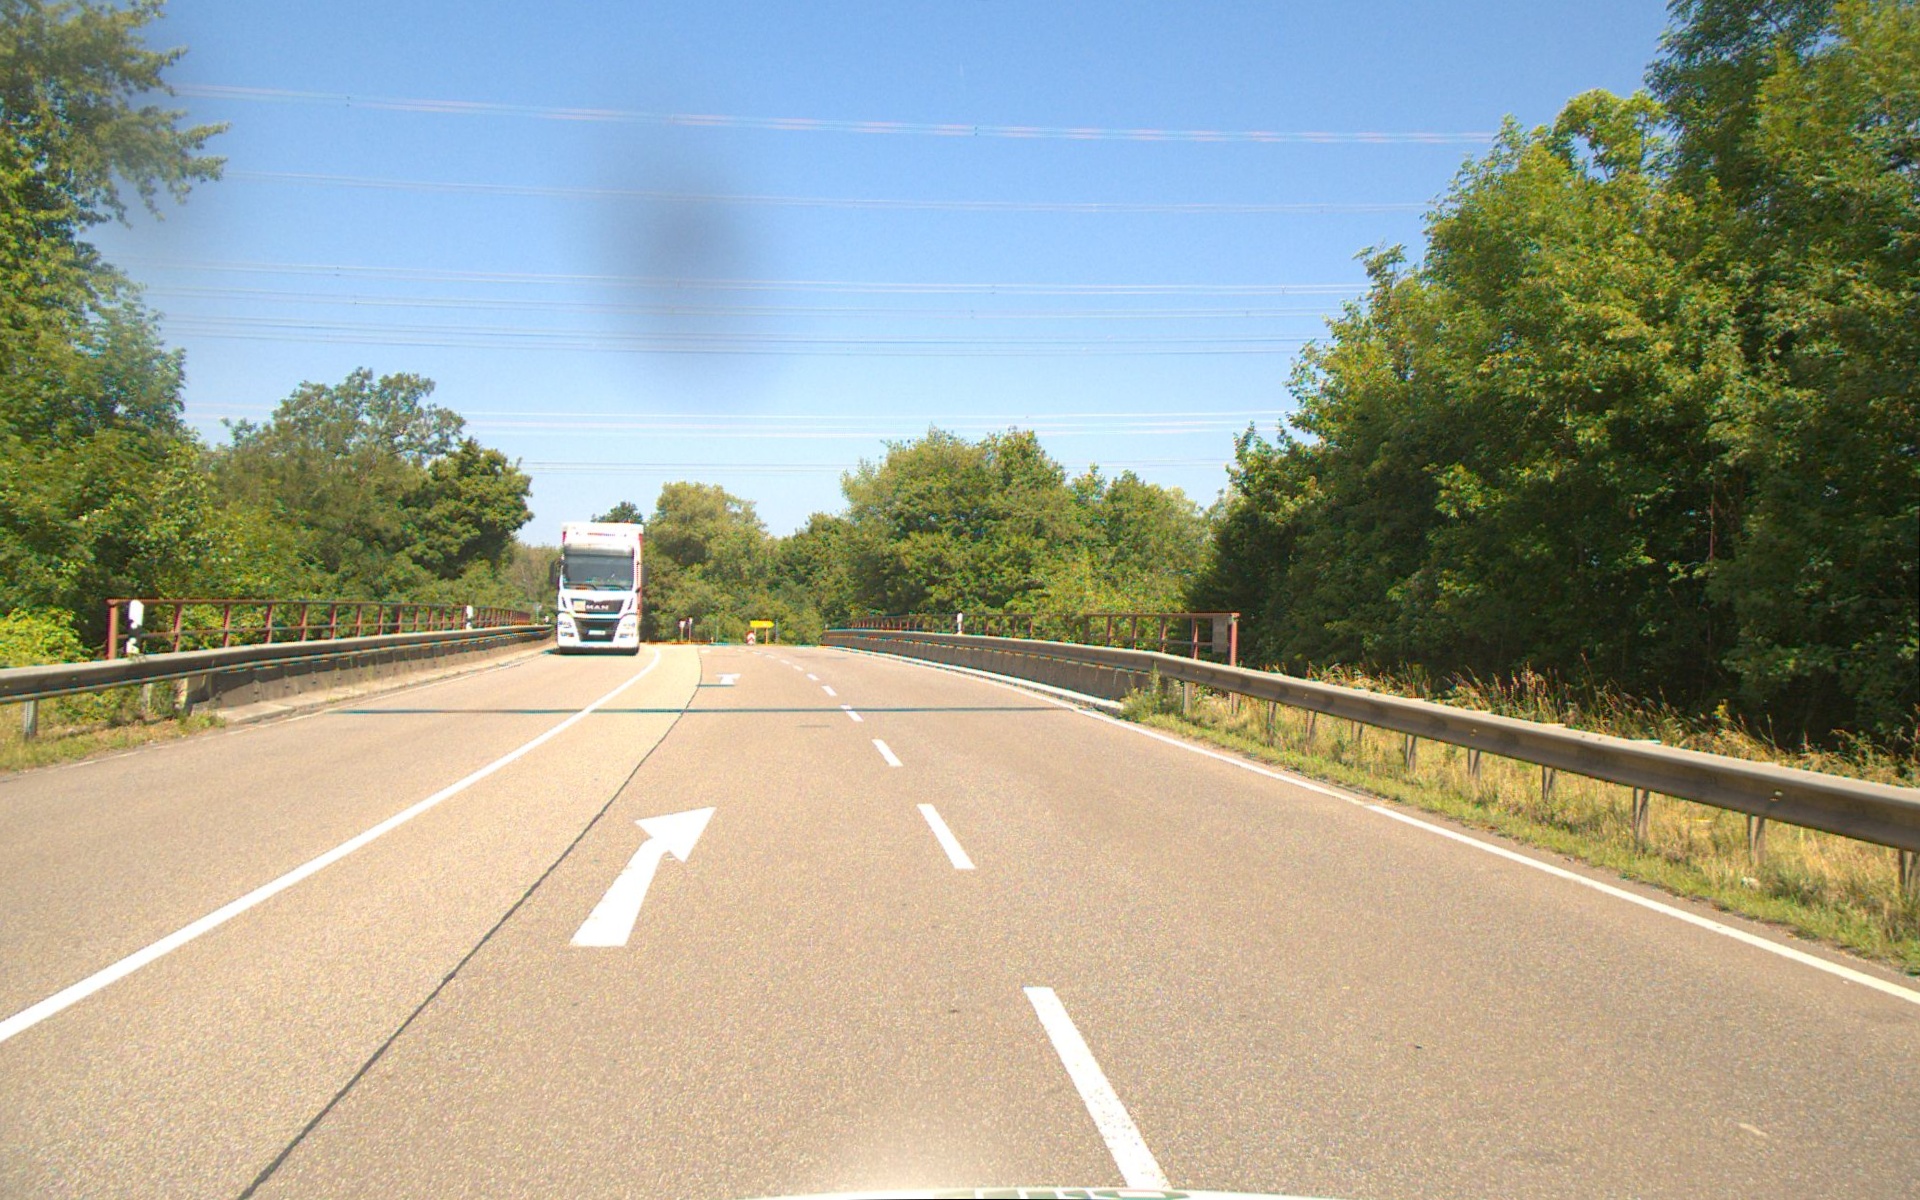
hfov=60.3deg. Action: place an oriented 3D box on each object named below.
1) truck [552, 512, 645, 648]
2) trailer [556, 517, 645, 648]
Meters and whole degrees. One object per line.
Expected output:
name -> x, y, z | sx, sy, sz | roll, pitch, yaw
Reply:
truck -> -11.506, -0.550, 52.897 | 2.720, 4.105, 5.837 | 0, -1, -12
trailer -> -12.783, -0.441, 59.173 | 2.719, 4.133, 14.157 | 0, -1, -12
